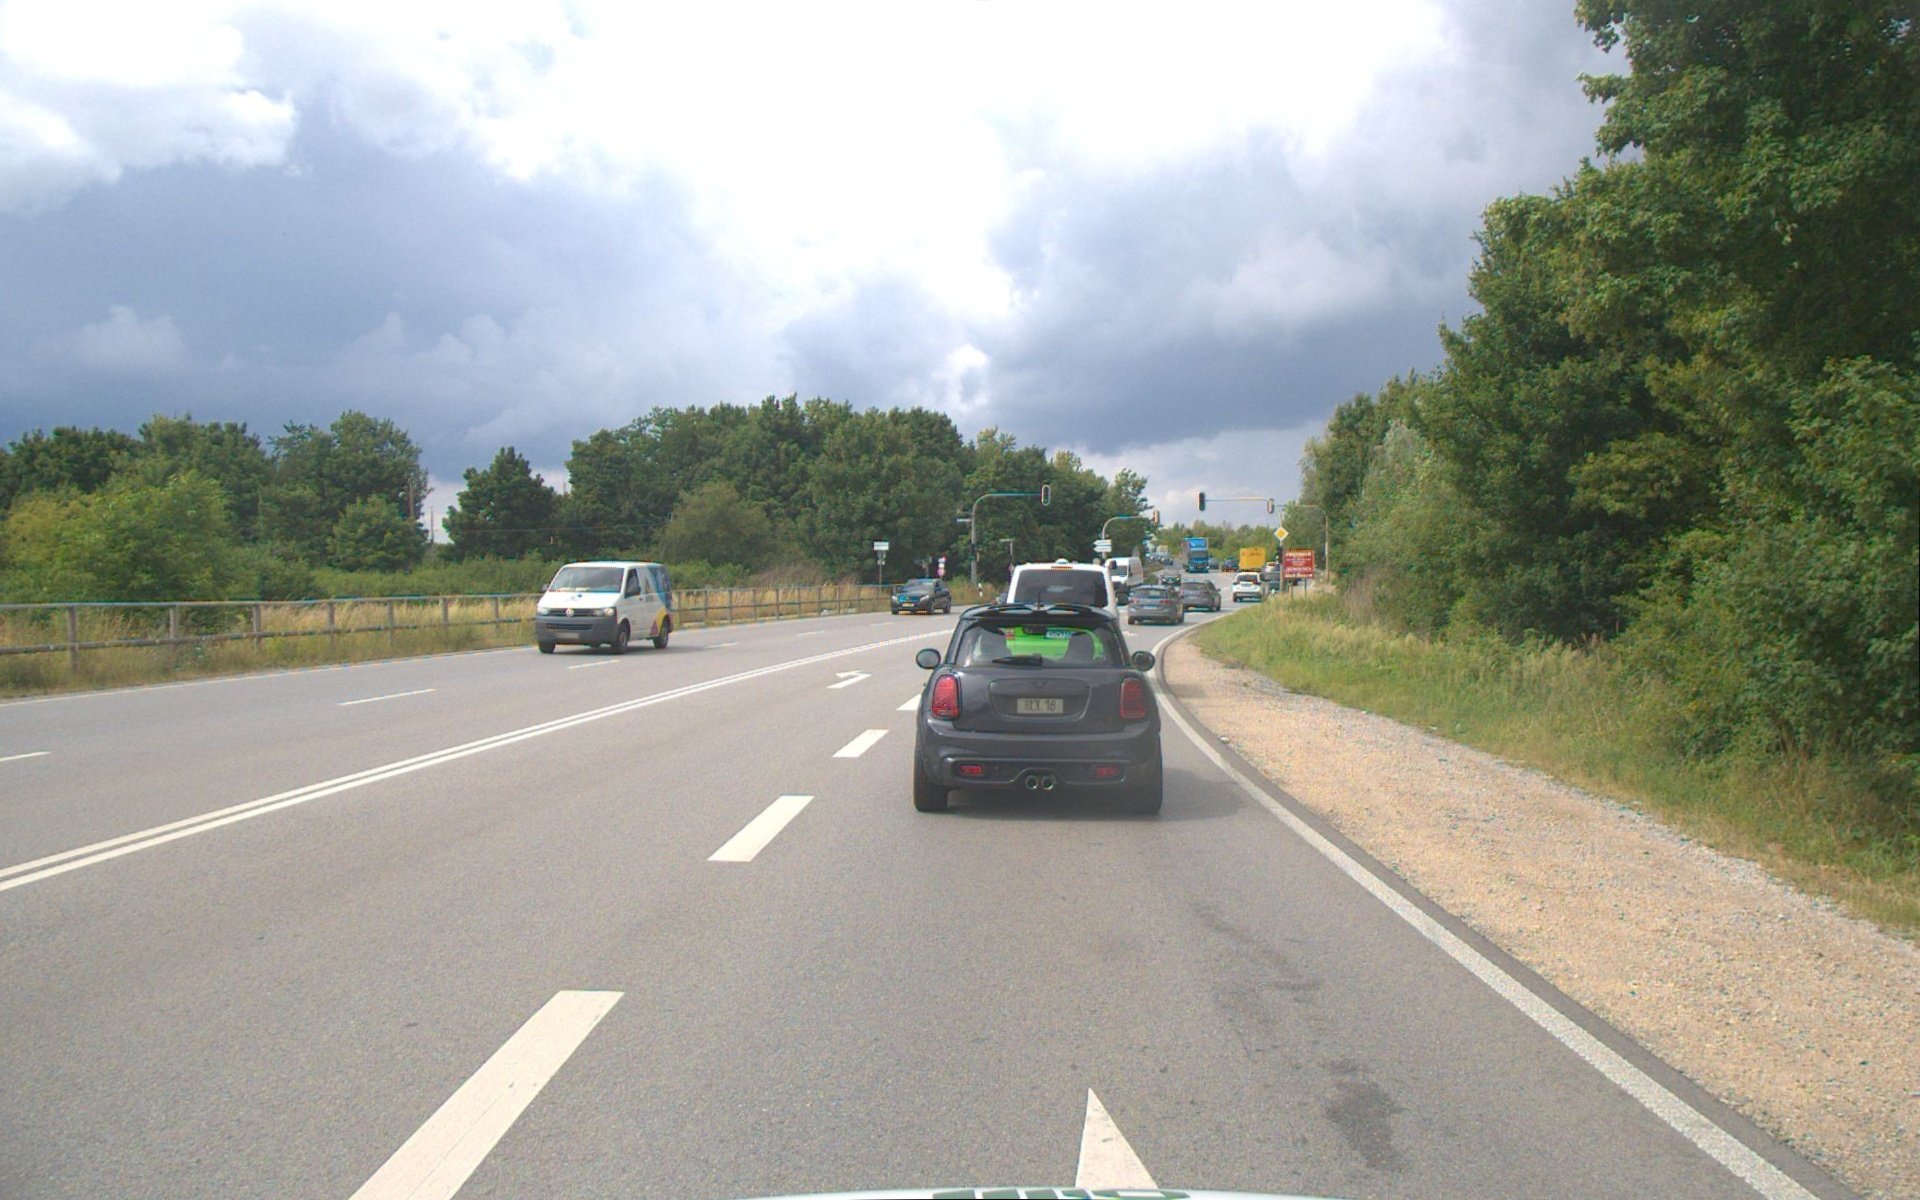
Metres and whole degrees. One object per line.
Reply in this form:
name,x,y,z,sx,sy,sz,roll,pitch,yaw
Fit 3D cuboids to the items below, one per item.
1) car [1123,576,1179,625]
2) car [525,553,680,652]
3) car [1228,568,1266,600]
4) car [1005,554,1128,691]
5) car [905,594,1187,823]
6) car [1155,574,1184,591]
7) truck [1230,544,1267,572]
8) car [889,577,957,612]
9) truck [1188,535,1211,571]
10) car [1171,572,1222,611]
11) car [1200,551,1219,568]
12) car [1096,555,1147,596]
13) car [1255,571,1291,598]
car,7.124,0.048,61.325,1.951,1.713,4.003,1,-1,7
car,-7.854,0.037,36.799,1.951,2.049,4.671,0,0,6
car,16.591,-0.926,95.593,1.951,1.713,4.003,1,-1,12
car,1.697,0.327,26.604,1.806,2.021,3.843,1,0,3
car,0.656,0.696,12.626,1.806,1.453,3.842,1,0,3
car,19.199,-1.597,151.526,1.905,1.466,4.001,0,1,19
truck,32.399,-4.696,186.132,2.661,2.948,8.771,0,1,0
car,-1.552,-0.251,70.852,1.770,1.467,4.356,0,0,15
truck,28.361,-5.536,195.974,2.485,4.167,4.004,0,1,10
car,11.318,-0.381,78.852,1.951,1.713,3.980,1,-1,14
car,32.964,-5.299,218.611,2.135,2.049,4.002,1,-1,4
car,11.249,-1.701,115.040,2.382,2.721,6.893,1,1,15
car,21.329,-1.033,112.570,1.951,1.713,4.002,1,-1,17
